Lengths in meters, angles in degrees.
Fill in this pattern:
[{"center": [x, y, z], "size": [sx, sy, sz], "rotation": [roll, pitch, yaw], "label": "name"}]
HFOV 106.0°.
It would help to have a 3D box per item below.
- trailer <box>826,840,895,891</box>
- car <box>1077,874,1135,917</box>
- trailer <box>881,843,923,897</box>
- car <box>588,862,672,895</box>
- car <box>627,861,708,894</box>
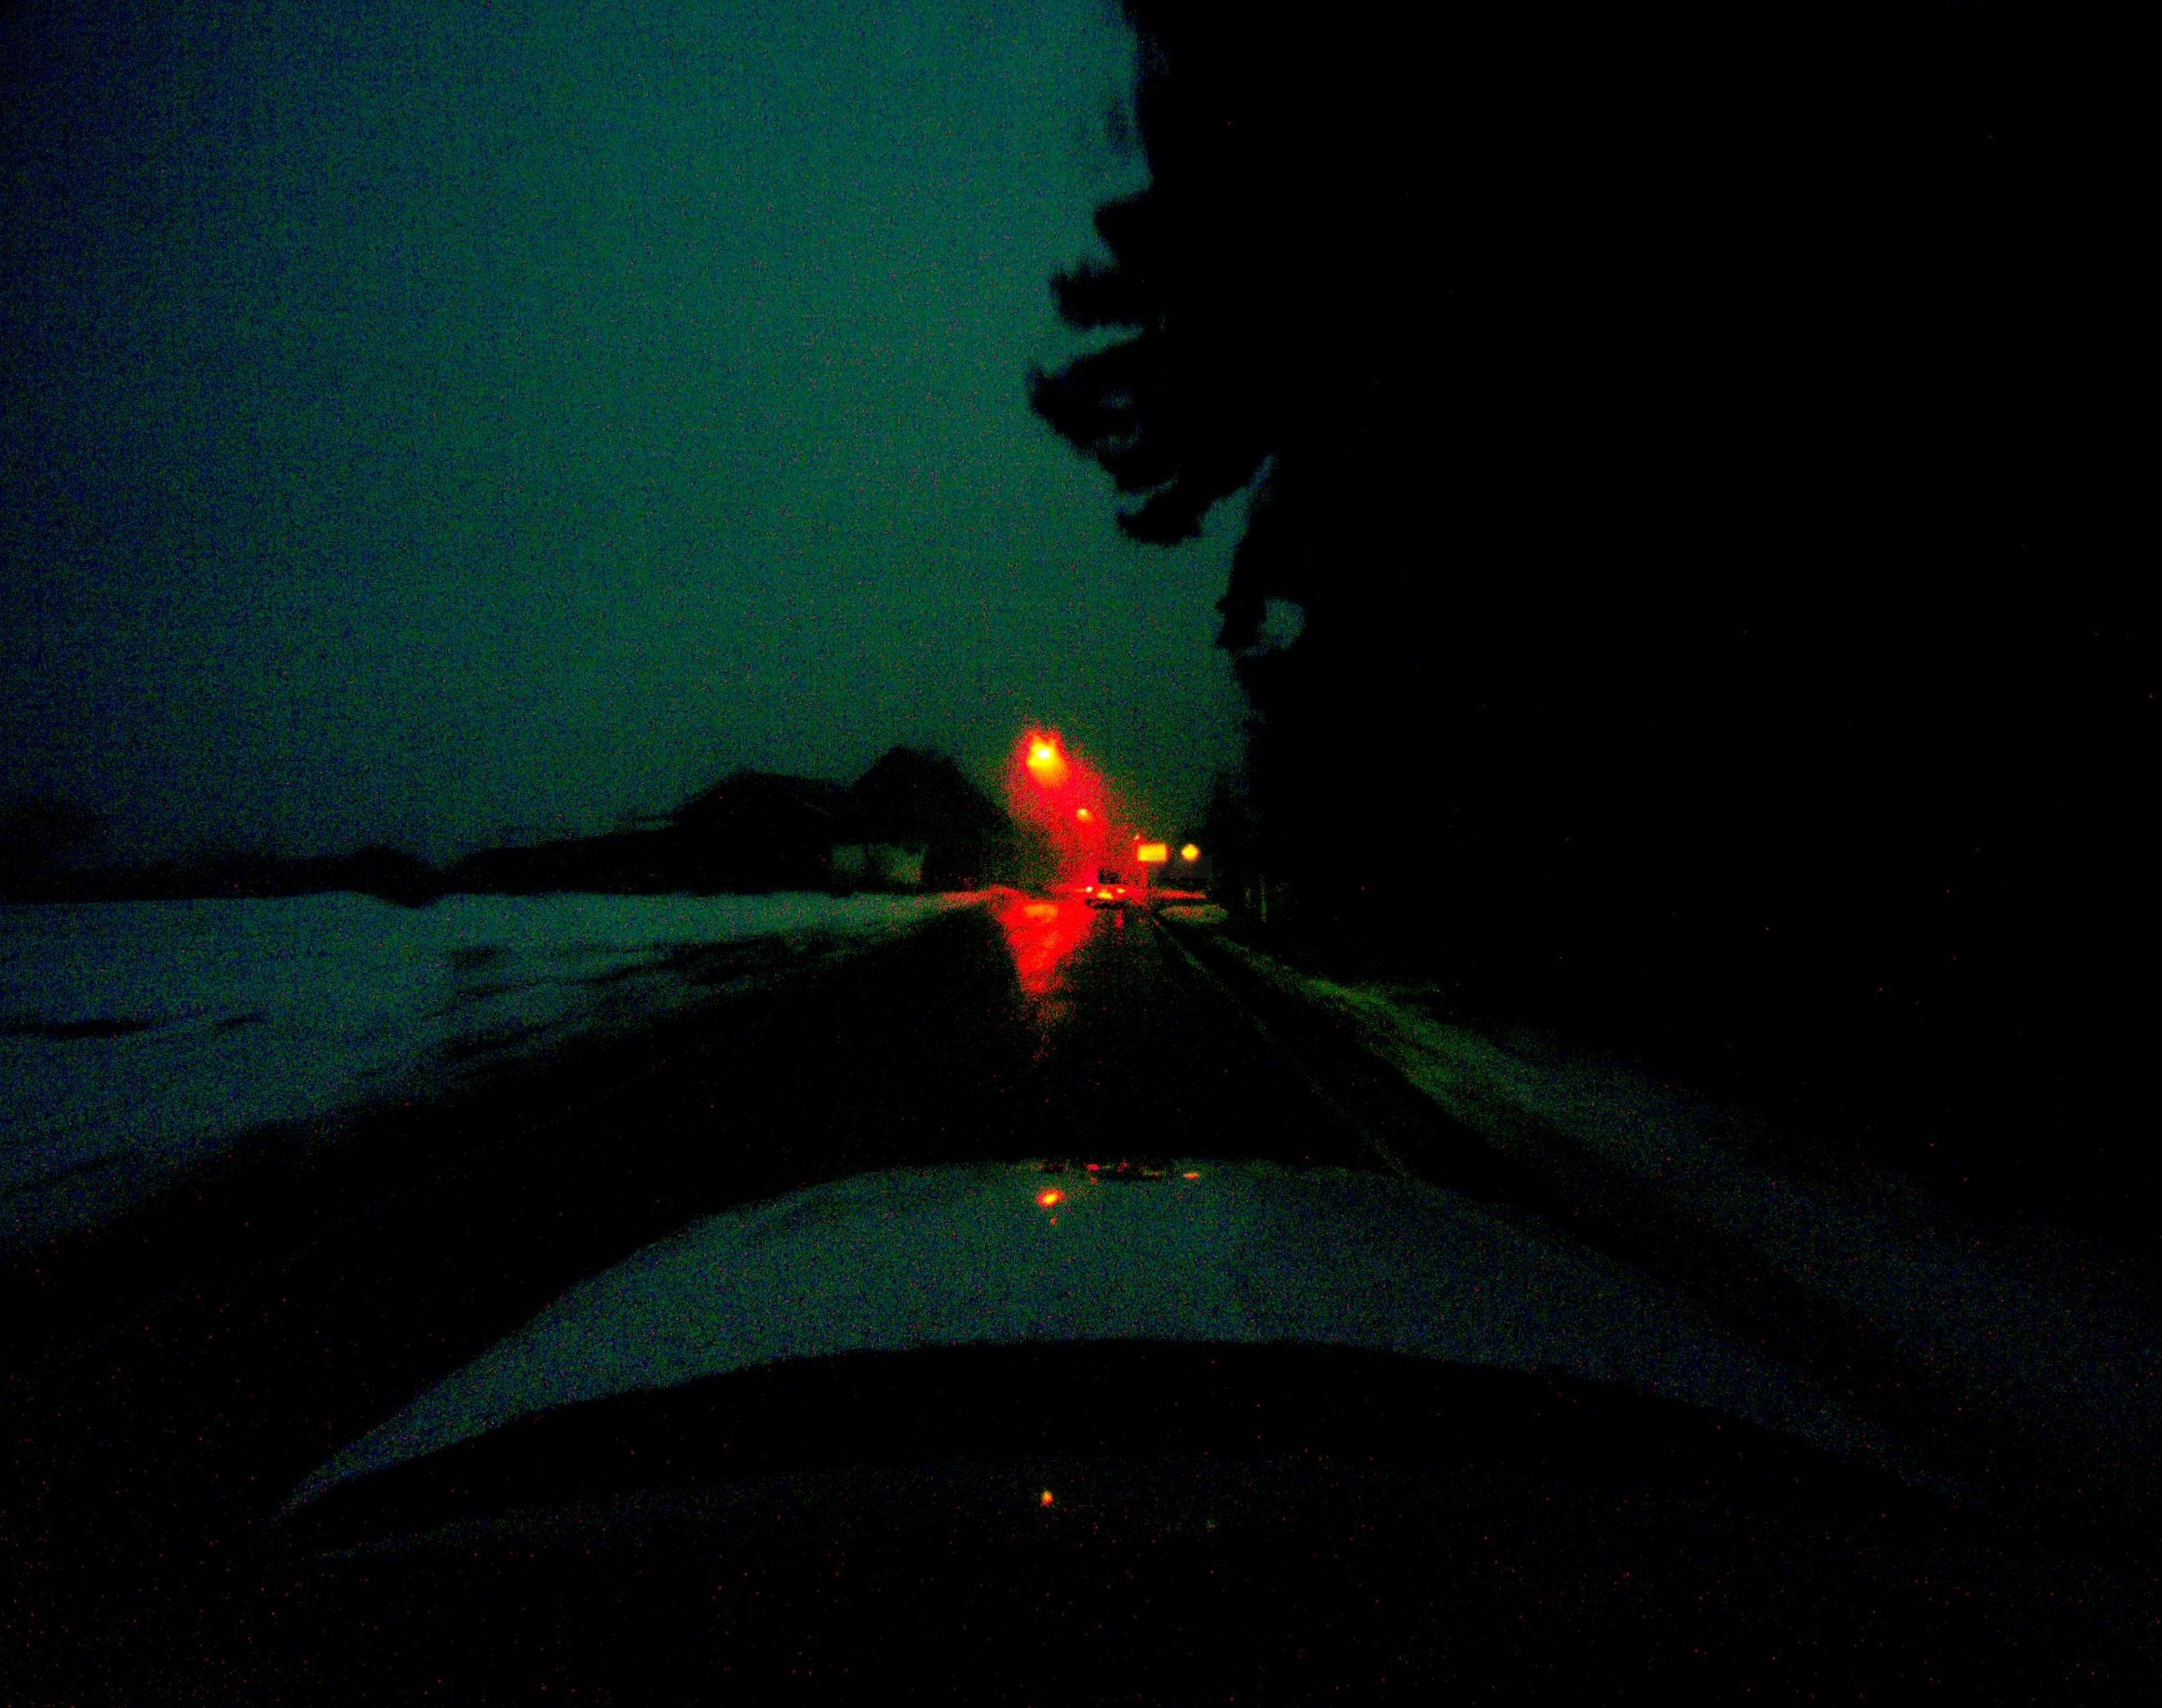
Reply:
[{"center": [-11.584, 0.594, 43.092], "size": [1.982, 2.489, 4.020], "rotation": [-2, -1, 9], "label": "trailer"}, {"center": [1.087, 1.652, 33.318], "size": [1.983, 1.508, 4.007], "rotation": [-2, -1, 6], "label": "car"}, {"center": [-9.132, 0.794, 41.369], "size": [1.694, 2.605, 3.423], "rotation": [-2, -1, -18], "label": "trailer"}, {"center": [-24.757, 1.314, 44.879], "size": [1.982, 1.662, 4.009], "rotation": [-2, -1, 8], "label": "car"}, {"center": [-22.590, 1.237, 44.670], "size": [1.983, 1.662, 4.008], "rotation": [-2, -1, 7], "label": "car"}]
